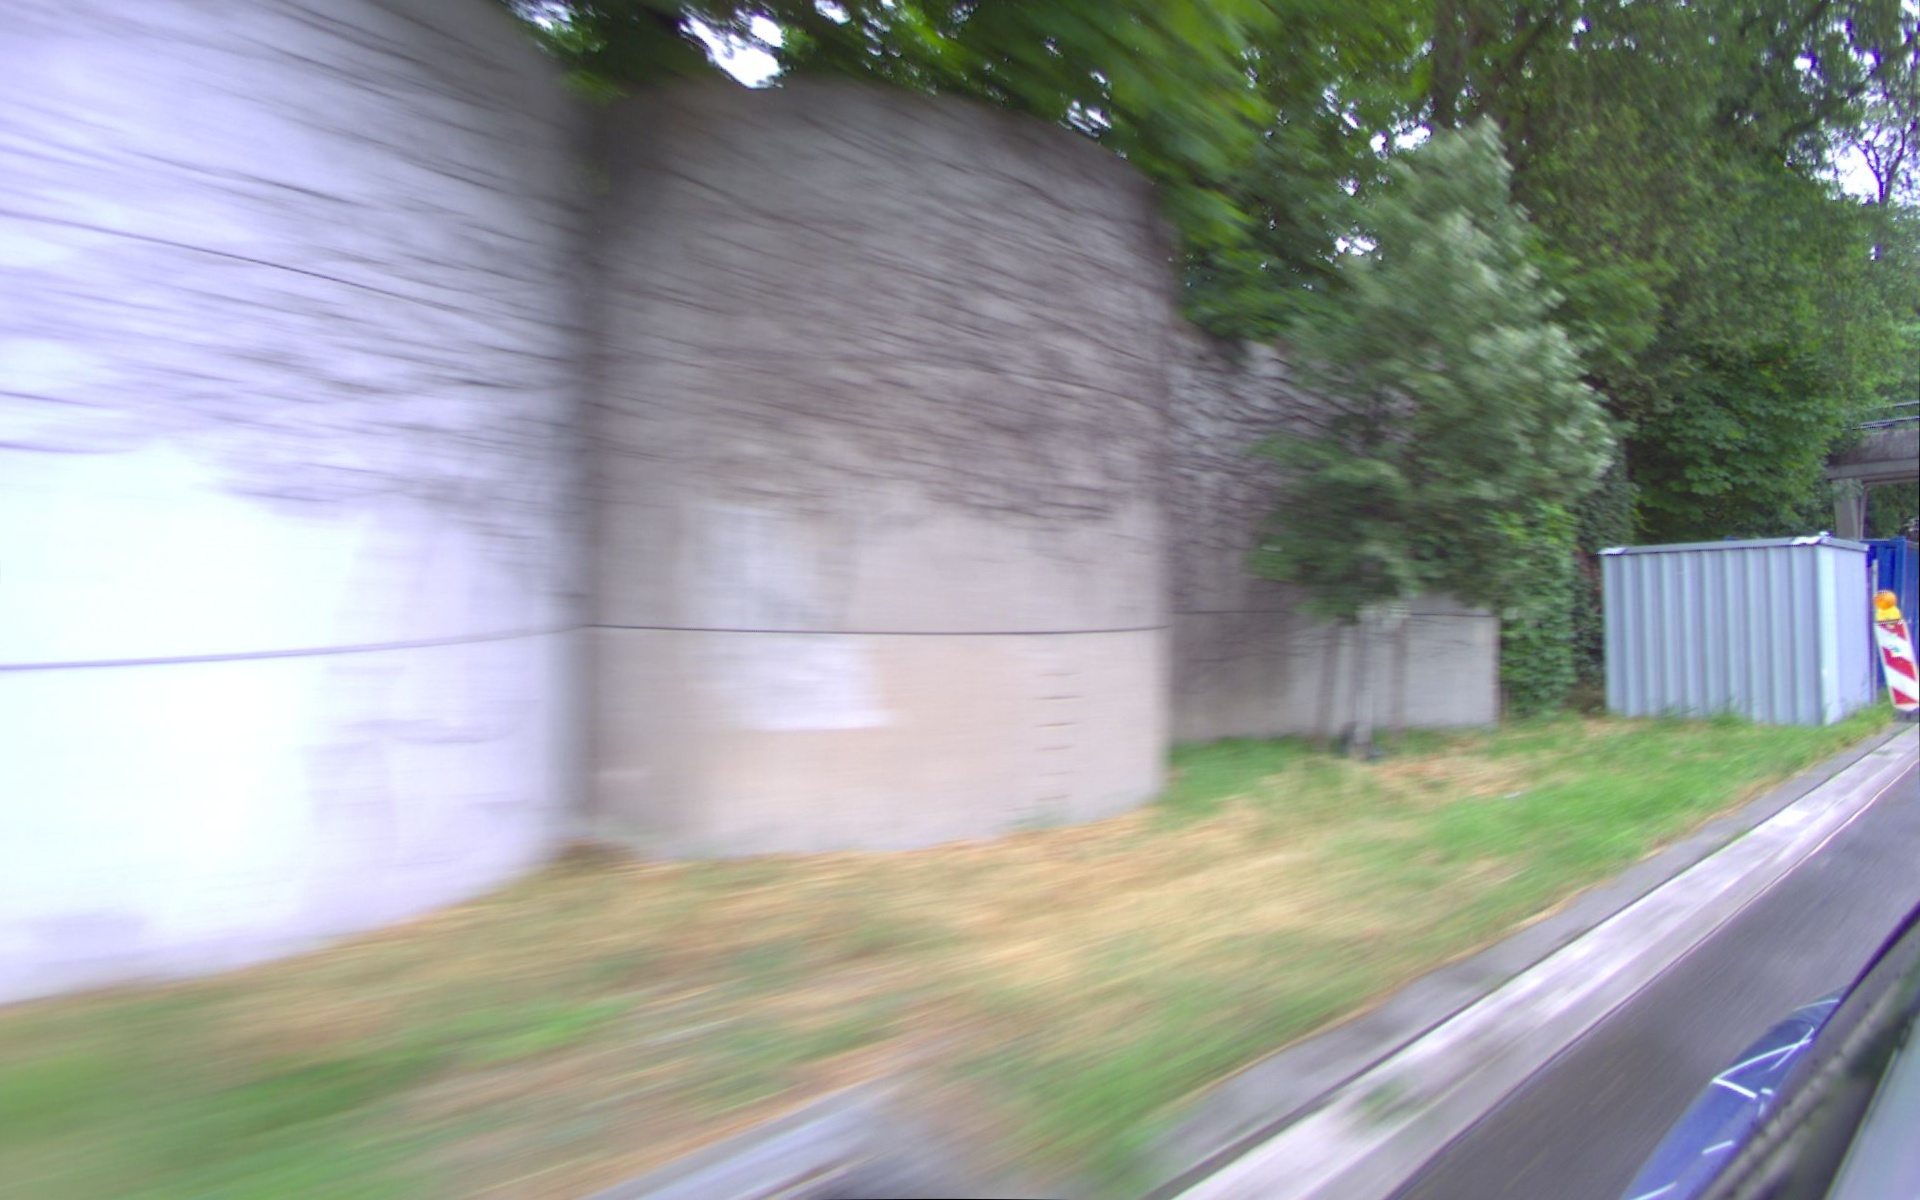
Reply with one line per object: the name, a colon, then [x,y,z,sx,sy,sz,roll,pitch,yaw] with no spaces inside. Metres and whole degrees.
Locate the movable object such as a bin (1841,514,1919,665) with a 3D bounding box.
movable object such as a bin: [27.534,-0.273,28.920,6.002,3.990,2.885,0,-1,-43]
